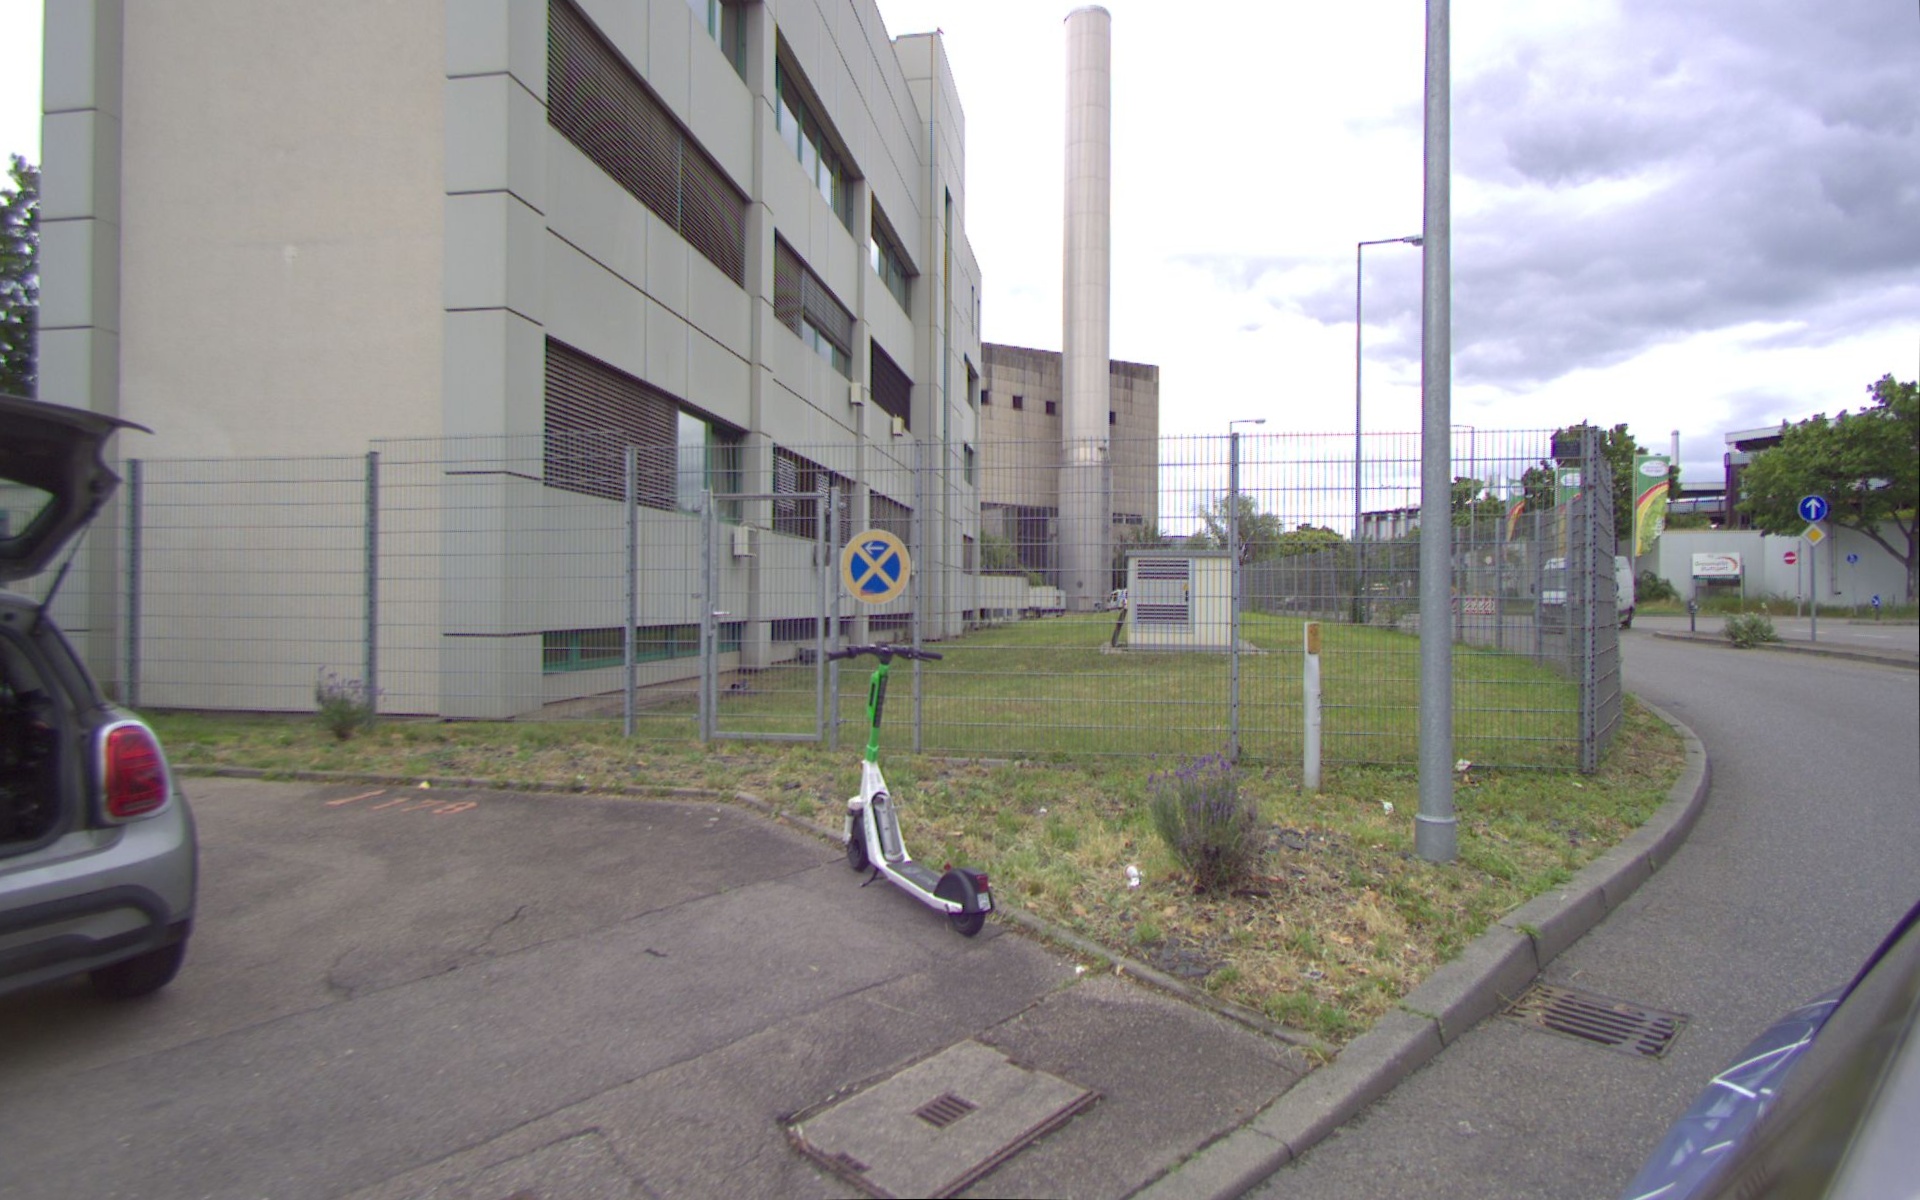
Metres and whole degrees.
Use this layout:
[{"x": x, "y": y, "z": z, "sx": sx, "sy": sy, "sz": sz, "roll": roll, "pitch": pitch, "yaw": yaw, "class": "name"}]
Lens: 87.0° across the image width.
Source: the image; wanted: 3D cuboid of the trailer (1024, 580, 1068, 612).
[{"x": 7.306, "y": -0.319, "z": 86.424, "sx": 2.611, "sy": 2.576, "sz": 6.439, "roll": -1, "pitch": -1, "yaw": -5, "class": "trailer"}]

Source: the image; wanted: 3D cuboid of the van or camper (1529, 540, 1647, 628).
[{"x": 20.545, "y": -0.509, "z": 32.981, "sx": 2.263, "sy": 2.589, "sz": 6.017, "roll": -1, "pitch": 0, "yaw": 42, "class": "van or camper"}]

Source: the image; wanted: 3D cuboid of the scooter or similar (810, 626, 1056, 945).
[{"x": -0.182, "y": 0.734, "z": 4.626, "sx": 0.471, "sy": 1.147, "sz": 1.421, "roll": 0, "pitch": 2, "yaw": -32, "class": "scooter or similar"}]

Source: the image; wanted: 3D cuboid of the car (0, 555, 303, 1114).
[{"x": -4.241, "y": 0.586, "z": 3.582, "sx": 3.991, "sy": 1.450, "sz": 1.765, "roll": 1, "pitch": 1, "yaw": 33, "class": "car"}]
